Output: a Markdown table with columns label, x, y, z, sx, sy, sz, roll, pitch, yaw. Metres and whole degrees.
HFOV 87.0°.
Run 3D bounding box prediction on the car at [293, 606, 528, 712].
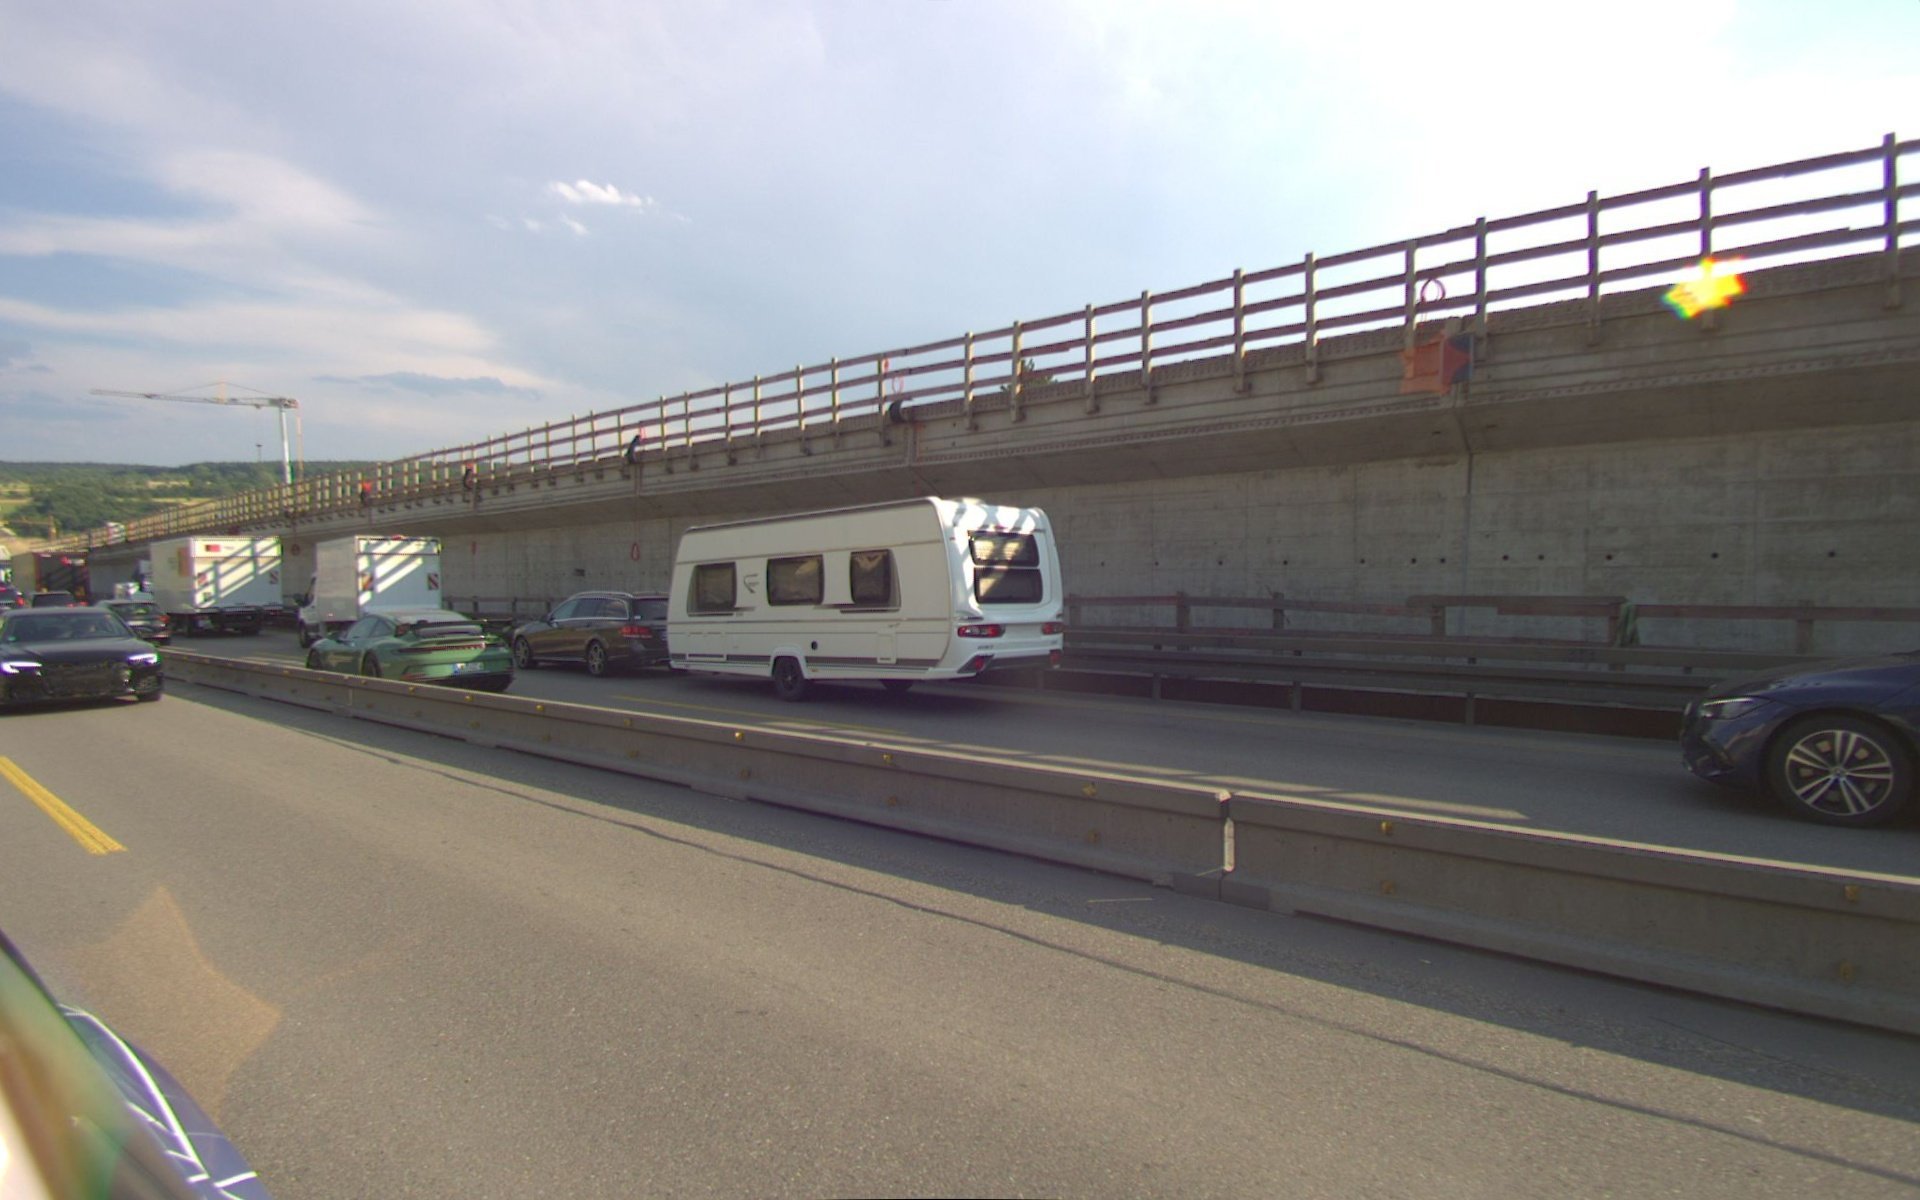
| label | x | y | z | sx | sy | sz | roll | pitch | yaw |
| --- | --- | --- | --- | --- | --- | --- | --- | --- | --- |
| car | -8.411 | 0.786 | 15.334 | 4.237 | 1.335 | 1.763 | 0 | 1 | 41 |

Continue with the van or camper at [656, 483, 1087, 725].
| label | x | y | z | sx | sy | sz | roll | pitch | yaw |
| --- | --- | --- | --- | --- | --- | --- | --- | --- | --- |
| van or camper | -1.528 | 0.038 | 14.275 | 6.453 | 2.683 | 2.287 | 0 | 0 | 42 |

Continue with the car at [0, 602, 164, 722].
| label | x | y | z | sx | sy | sz | roll | pitch | yaw |
| --- | --- | --- | --- | --- | --- | --- | --- | --- | --- |
| car | -13.655 | 0.819 | 15.269 | 4.348 | 1.429 | 1.848 | 1 | 3 | 42 |

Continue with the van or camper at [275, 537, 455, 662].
| label | x | y | z | sx | sy | sz | roll | pitch | yaw |
| --- | --- | --- | --- | --- | --- | --- | --- | --- | --- |
| van or camper | -16.095 | -0.068 | 27.217 | 6.220 | 3.011 | 2.296 | 1 | 2 | 41 |

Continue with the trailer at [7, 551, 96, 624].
| label | x | y | z | sx | sy | sz | roll | pitch | yaw |
| --- | --- | --- | --- | --- | --- | --- | --- | --- | --- |
| trailer | -59.027 | -0.864 | 65.576 | 13.769 | 4.271 | 2.882 | 1 | 4 | 43 |

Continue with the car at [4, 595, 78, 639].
| label | x | y | z | sx | sy | sz | roll | pitch | yaw |
| --- | --- | --- | --- | --- | --- | --- | --- | --- | --- |
| car | -39.523 | 0.698 | 43.492 | 4.688 | 1.657 | 1.813 | 1 | 4 | 42 |

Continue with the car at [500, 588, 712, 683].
| label | x | y | z | sx | sy | sz | roll | pitch | yaw |
| --- | --- | --- | --- | --- | --- | --- | --- | --- | --- |
| car | -6.685 | 0.574 | 18.812 | 4.782 | 1.542 | 1.623 | 0 | 1 | 42 |

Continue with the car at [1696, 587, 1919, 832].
| label | x | y | z | sx | sy | sz | roll | pitch | yaw |
| --- | --- | --- | --- | --- | --- | --- | --- | --- | --- |
| car | 7.290 | 0.641 | 5.758 | 4.897 | 1.432 | 1.952 | 0 | -1 | 41 |

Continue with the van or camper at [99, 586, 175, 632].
| label | x | y | z | sx | sy | sz | roll | pitch | yaw |
| --- | --- | --- | --- | --- | --- | --- | --- | --- | --- |
| van or camper | -38.255 | 0.386 | 47.015 | 4.921 | 1.936 | 1.897 | 0 | 3 | 42 |

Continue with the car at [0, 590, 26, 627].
| label | x | y | z | sx | sy | sz | roll | pitch | yaw |
| --- | --- | --- | --- | --- | --- | --- | --- | --- | --- |
| car | -53.871 | 0.464 | 56.487 | 5.289 | 1.936 | 1.964 | 0 | 4 | 42 |

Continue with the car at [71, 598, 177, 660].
| label | x | y | z | sx | sy | sz | roll | pitch | yaw |
| --- | --- | --- | --- | --- | --- | --- | --- | --- | --- |
| car | -25.420 | 0.809 | 30.713 | 4.556 | 1.607 | 1.723 | 1 | 4 | 41 |

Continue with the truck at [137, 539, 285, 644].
| label | x | y | z | sx | sy | sz | roll | pitch | yaw |
| --- | --- | --- | --- | --- | --- | --- | --- | --- | --- |
| truck | -27.478 | -0.332 | 36.946 | 8.138 | 3.450 | 2.686 | 1 | 0 | 41 |

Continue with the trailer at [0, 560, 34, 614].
| label | x | y | z | sx | sy | sz | roll | pitch | yaw |
| --- | --- | --- | --- | --- | --- | --- | --- | --- | --- |
| trailer | -80.730 | -0.960 | 85.065 | 14.021 | 4.172 | 2.736 | -1 | 3 | 42 |
